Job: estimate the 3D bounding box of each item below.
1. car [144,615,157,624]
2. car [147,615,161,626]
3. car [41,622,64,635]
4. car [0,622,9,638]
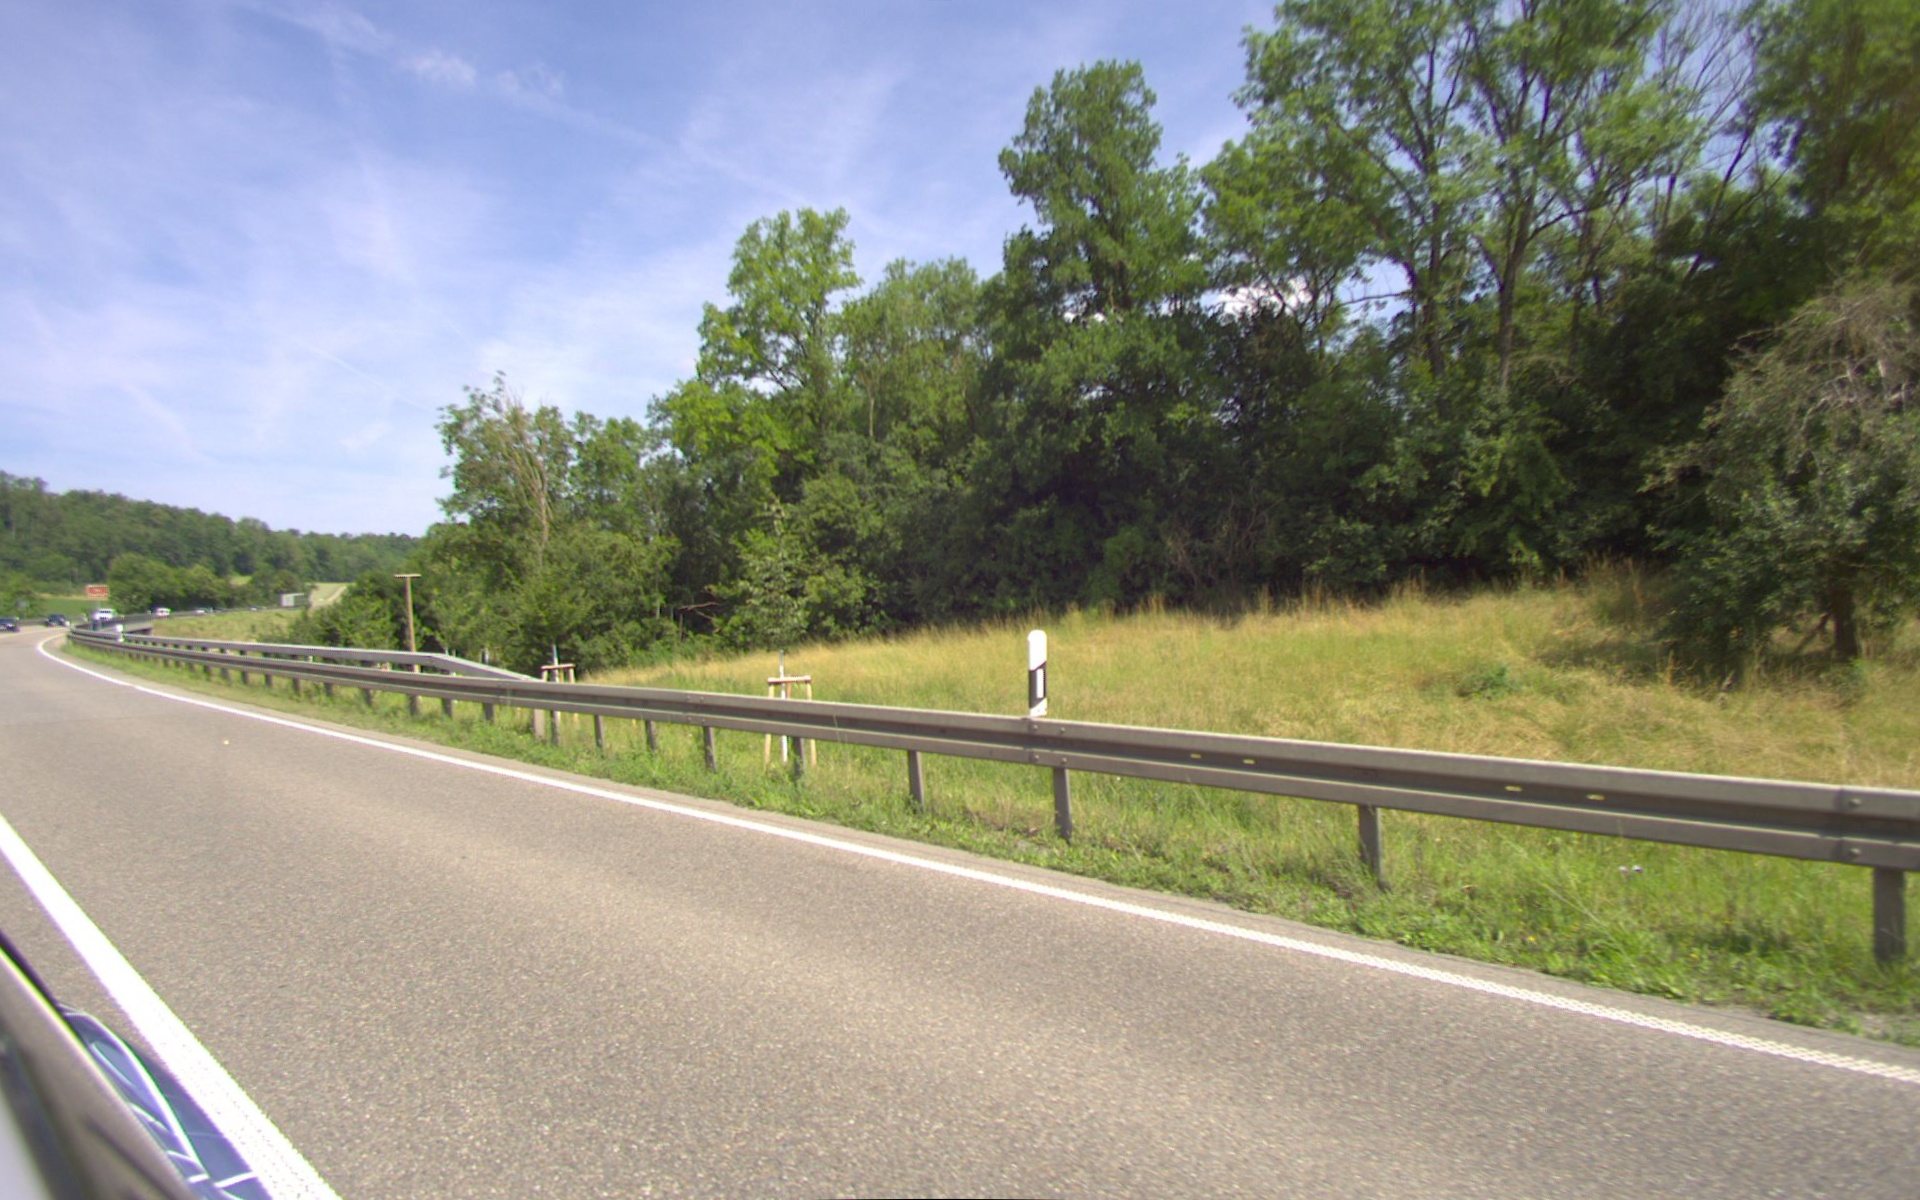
[{"bbox_3d":[-153.857,3.663,192.301,1.715,1.623,3.817,0,-1,-36],"label":"car"},{"bbox_3d":[-134.871,3.374,169.390,1.715,1.788,4.045,0,-1,-36],"label":"car"},{"bbox_3d":[-110.181,3.422,122.904,1.715,1.465,4.045,0,-1,-36],"label":"car"},{"bbox_3d":[-90.446,2.835,94.867,4.037,1.465,1.719,-1,-1,44],"label":"car"}]
